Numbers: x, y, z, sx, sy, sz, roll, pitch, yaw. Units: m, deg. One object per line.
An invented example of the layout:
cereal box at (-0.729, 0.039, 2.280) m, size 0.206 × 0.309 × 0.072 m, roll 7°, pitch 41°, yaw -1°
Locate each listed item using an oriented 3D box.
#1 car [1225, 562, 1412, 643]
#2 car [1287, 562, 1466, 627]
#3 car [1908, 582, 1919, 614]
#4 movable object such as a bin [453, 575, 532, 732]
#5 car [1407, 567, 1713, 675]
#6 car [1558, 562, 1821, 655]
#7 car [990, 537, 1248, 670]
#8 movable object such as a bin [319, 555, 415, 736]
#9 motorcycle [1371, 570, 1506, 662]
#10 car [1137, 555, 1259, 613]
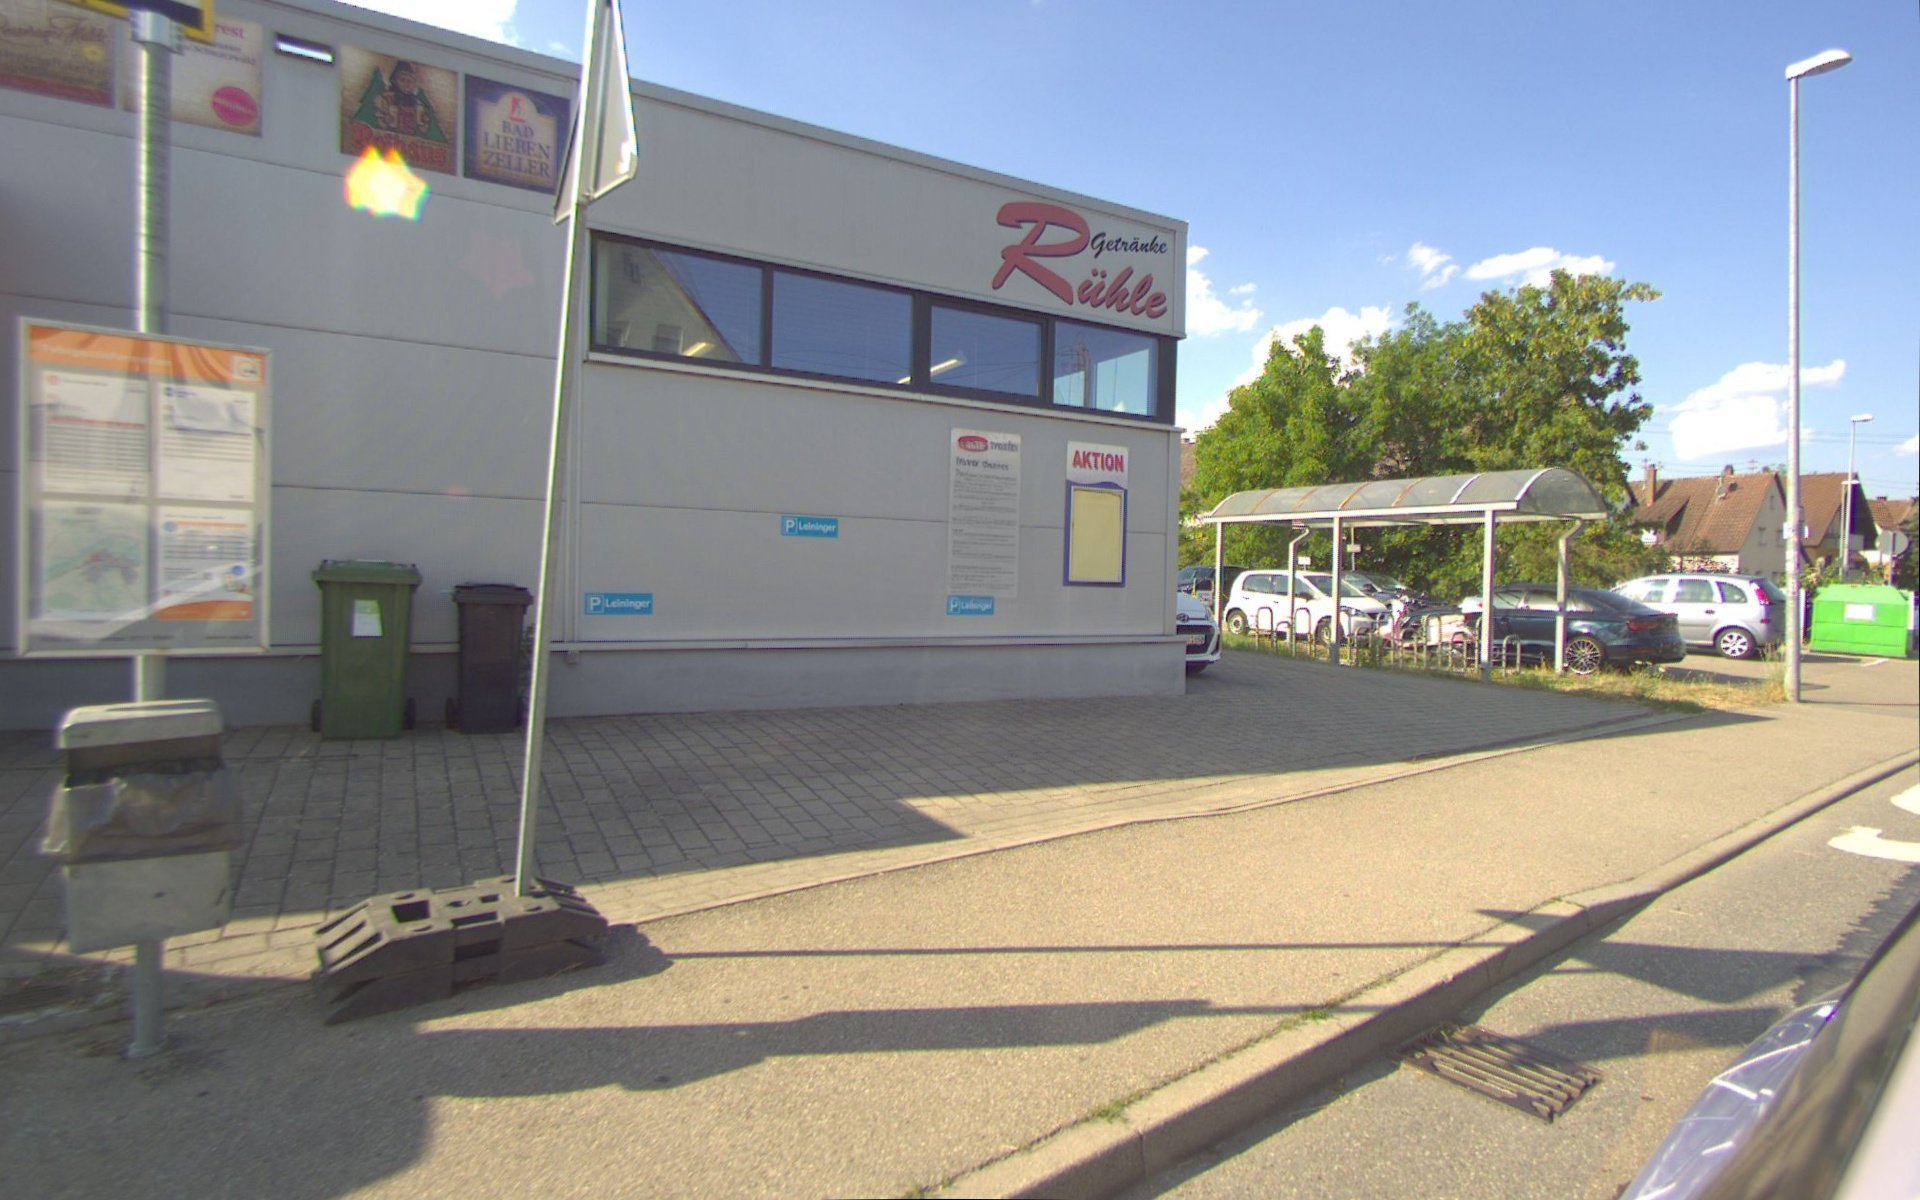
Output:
car at (7.361, -0.008, 21.056) m, size 1.469 × 1.433 × 3.452 m, roll 0°, pitch 4°, yaw -32°
car at (10.572, -0.215, 25.912) m, size 1.651 × 1.466 × 3.952 m, roll -1°, pitch 3°, yaw -36°
car at (52.782, -0.068, 54.844) m, size 1.969 × 1.676 × 3.938 m, roll 5°, pitch 4°, yaw 43°
movable object such as a bin at (-3.058, 0.330, 6.607) m, size 0.422 × 0.978 × 0.431 m, roll 1°, pitch 1°, yaw -29°
car at (9.882, 0.253, 16.984) m, size 1.594 × 1.433 × 4.081 m, roll 0°, pitch 4°, yaw -34°
car at (14.553, 0.076, 20.389) m, size 1.651 × 1.622 × 3.952 m, roll -1°, pitch 3°, yaw -36°
car at (1.937, -0.045, 13.341) m, size 1.468 × 1.475 × 3.574 m, roll 1°, pitch 3°, yaw -28°
movable object such as a bin at (-3.616, 0.258, 6.190) m, size 0.480 × 1.055 × 0.431 m, roll 1°, pitch 1°, yaw -30°
motorcycle at (7.701, 0.224, 16.326) m, size 1.820 × 1.340 × 0.632 m, roll 4°, pitch 3°, yaw 36°
car at (7.501, -0.515, 31.765) m, size 3.881 × 1.673 × 1.681 m, roll -1°, pitch 3°, yaw -39°
